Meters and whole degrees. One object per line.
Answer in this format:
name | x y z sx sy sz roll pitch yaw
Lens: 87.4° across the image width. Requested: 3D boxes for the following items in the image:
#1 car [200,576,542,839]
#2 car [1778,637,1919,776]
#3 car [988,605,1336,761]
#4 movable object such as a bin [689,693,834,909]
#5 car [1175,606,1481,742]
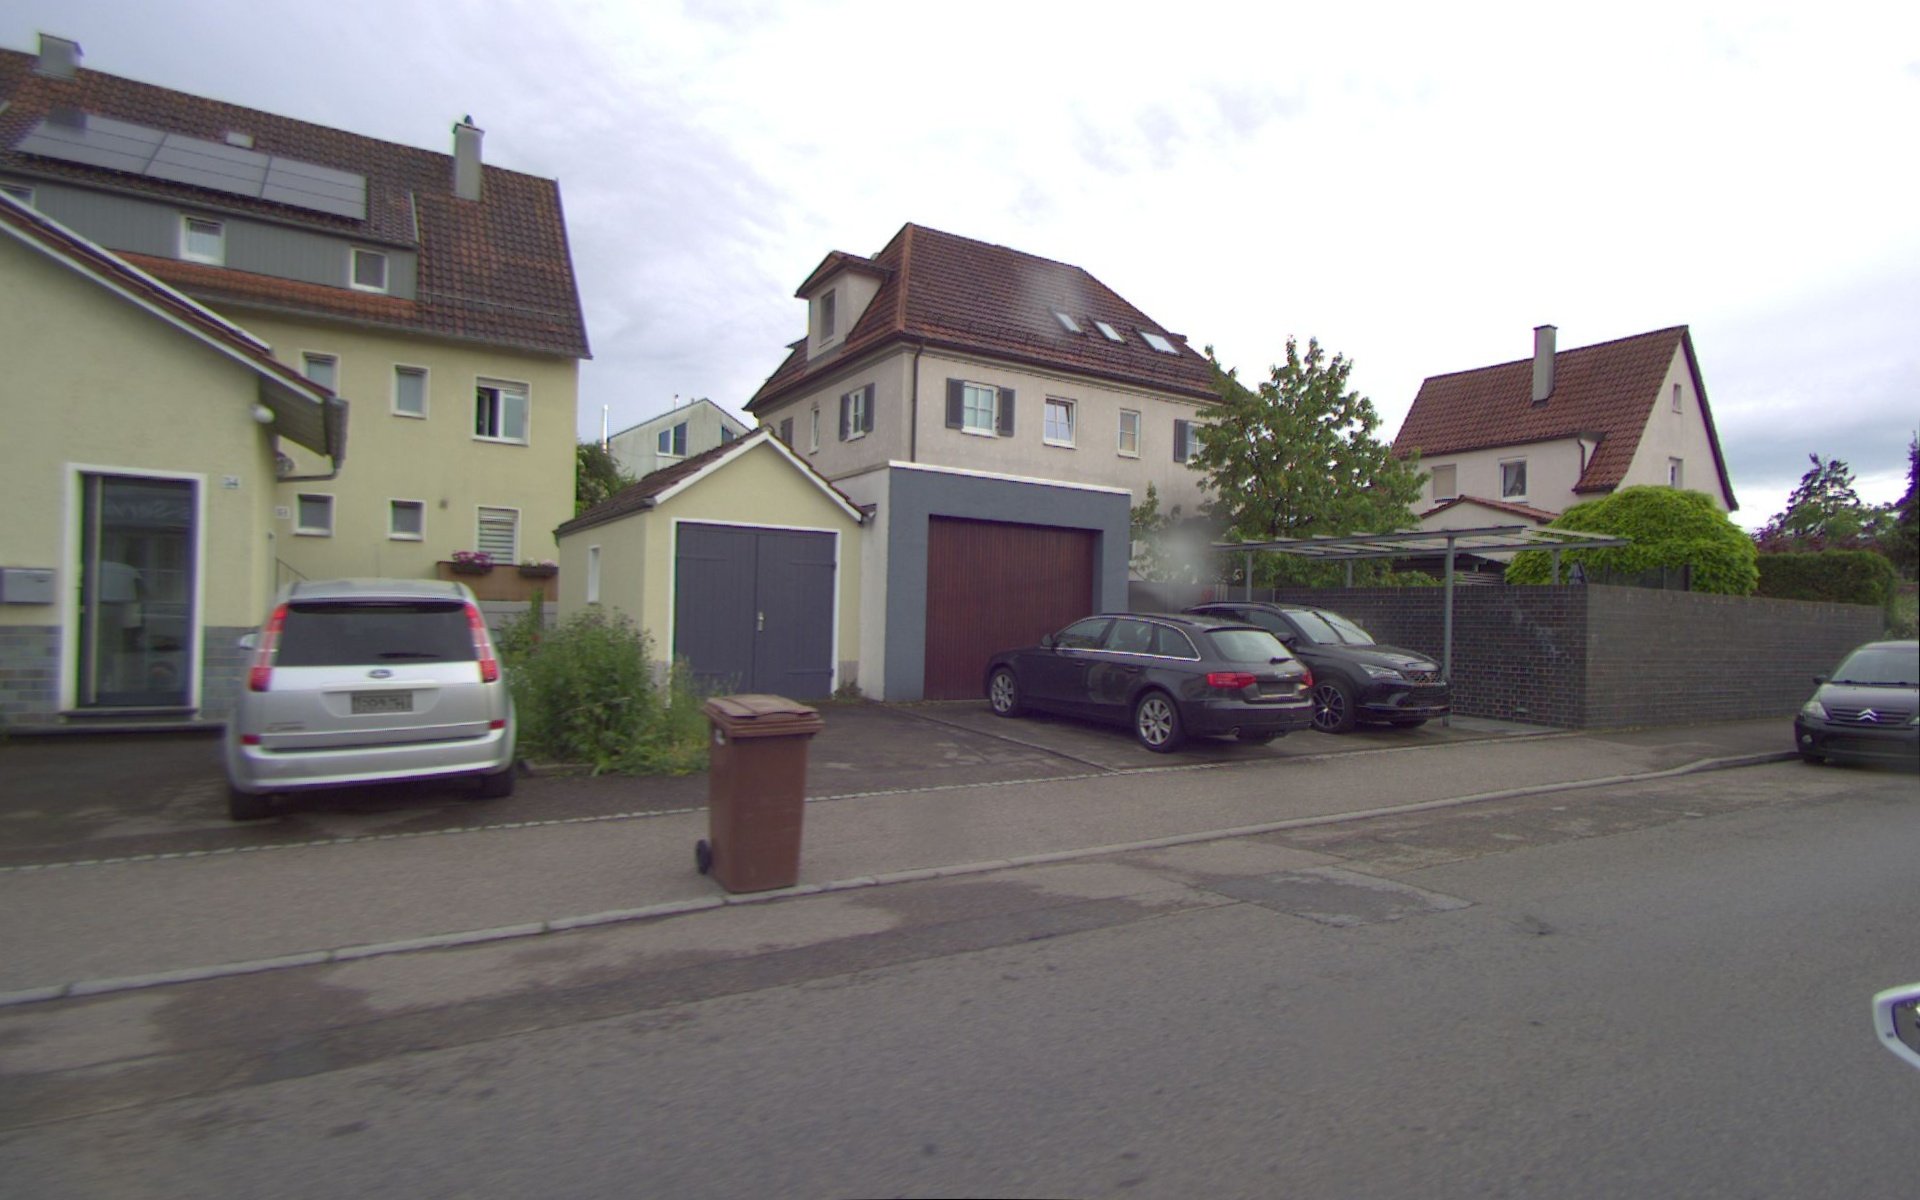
car | -4.772 0.643 8.085 1.864 1.534 4.059 1 -1 -34
car | 11.943 1.236 12.475 3.664 1.526 1.601 2 -2 -31
car | 2.182 0.829 11.911 1.696 1.433 4.060 1 0 -33
movable object such as a bin | -1.181 1.144 5.927 0.678 1.072 0.592 -1 5 -30
car | 4.886 0.896 13.737 1.739 1.476 3.562 2 1 -34
